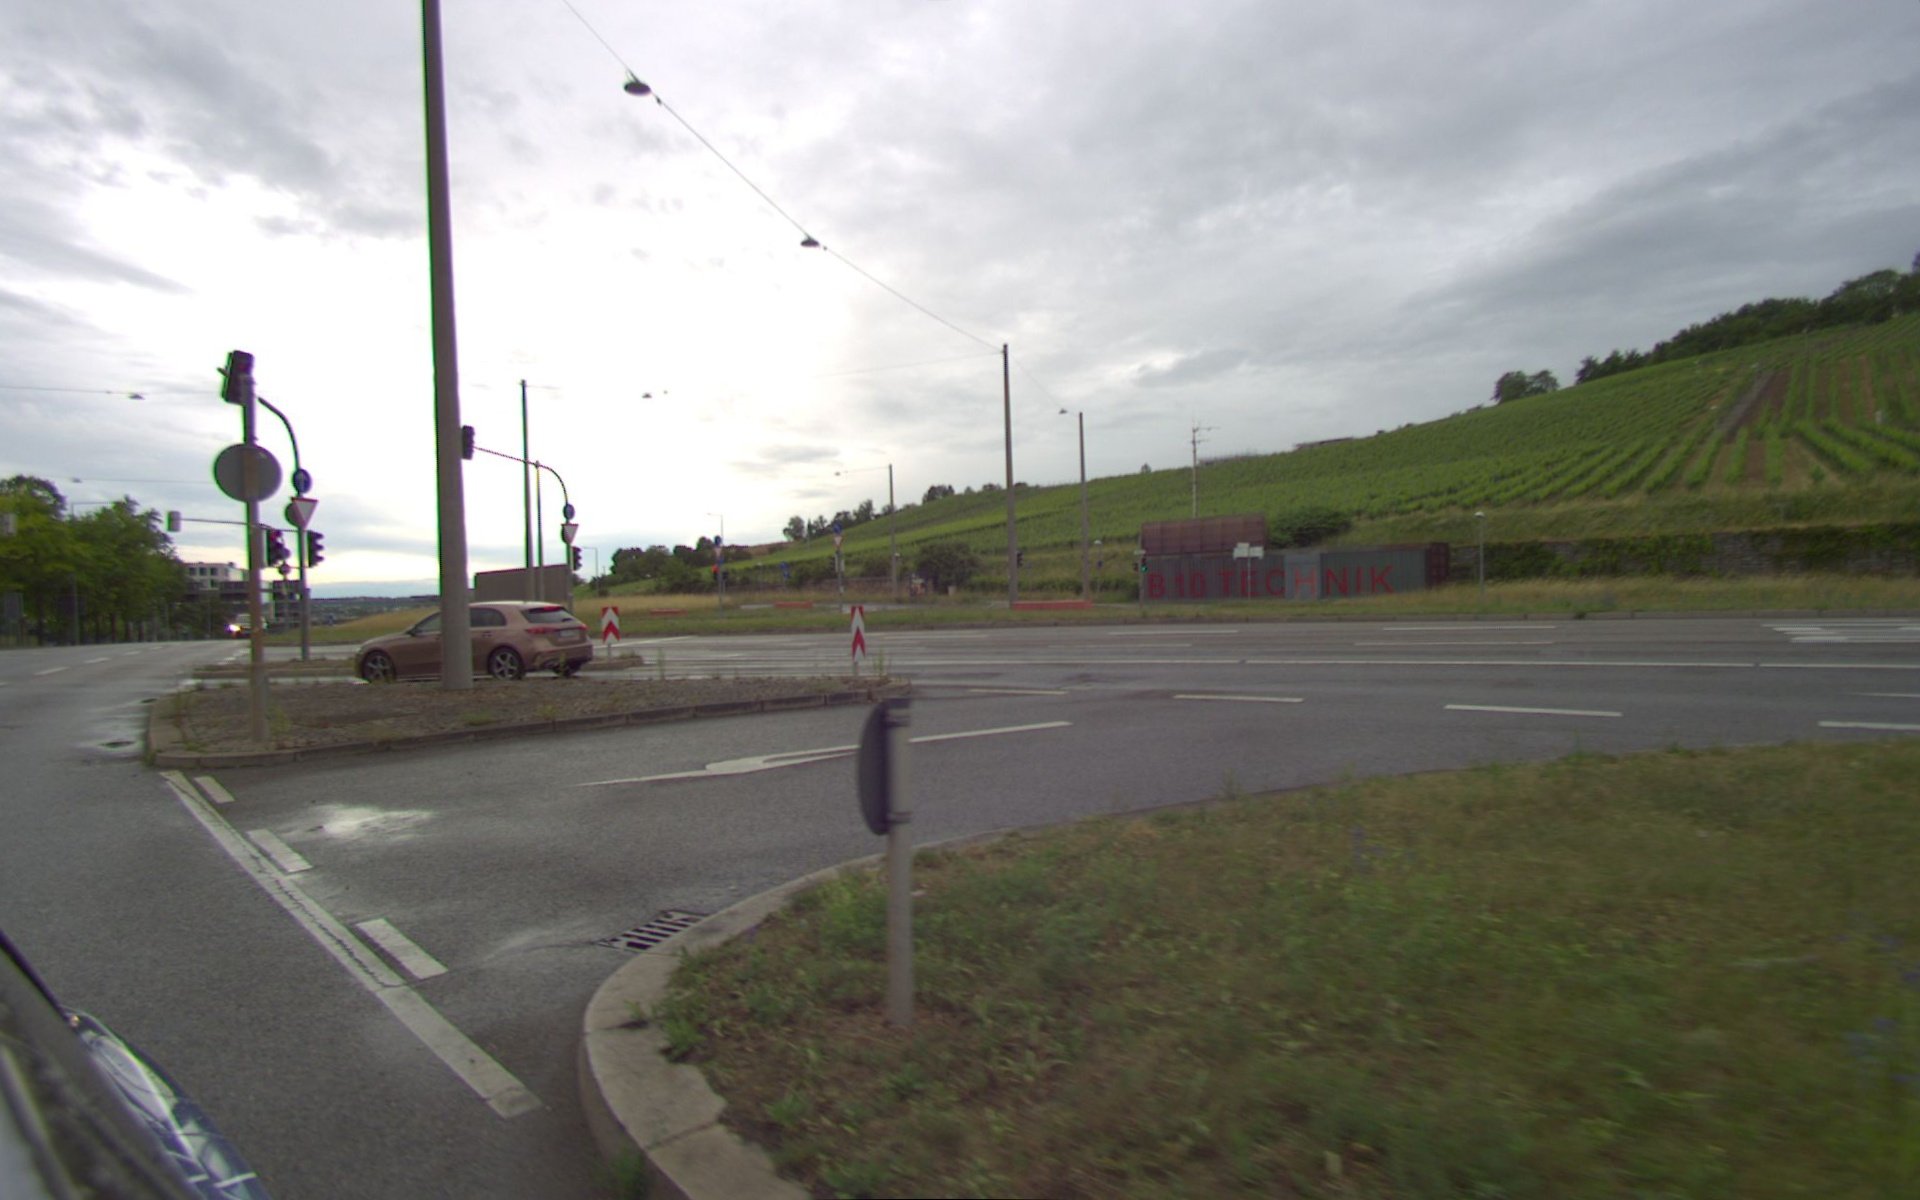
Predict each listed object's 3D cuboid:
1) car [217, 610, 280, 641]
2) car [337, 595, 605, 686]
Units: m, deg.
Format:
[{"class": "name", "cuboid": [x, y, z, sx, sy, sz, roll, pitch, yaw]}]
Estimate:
[{"class": "car", "cuboid": [-40.987, 1.419, 58.382, 1.767, 1.600, 3.917, -2, 1, -16]}, {"class": "car", "cuboid": [-8.857, 0.724, 18.403, 4.301, 1.472, 1.731, -2, 1, 15]}]
